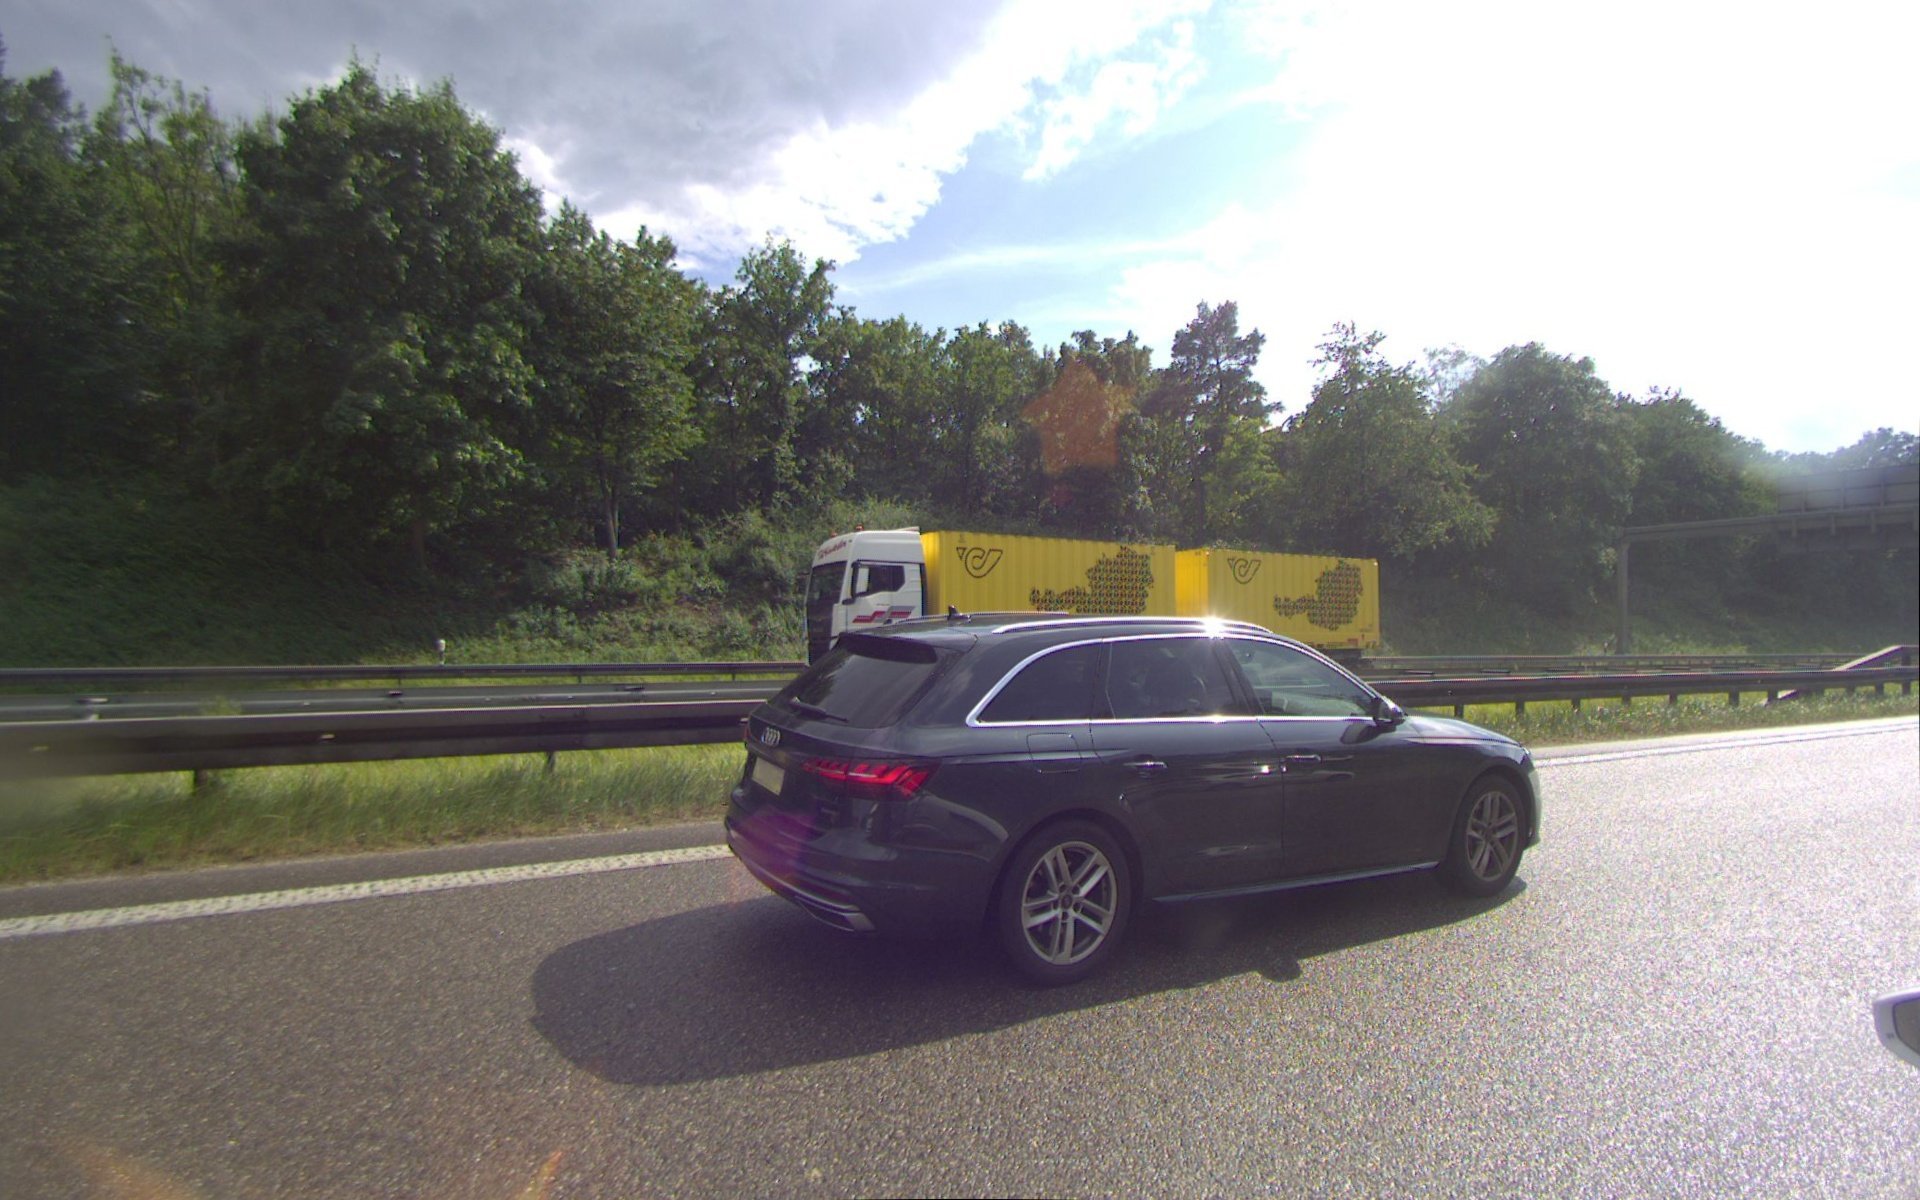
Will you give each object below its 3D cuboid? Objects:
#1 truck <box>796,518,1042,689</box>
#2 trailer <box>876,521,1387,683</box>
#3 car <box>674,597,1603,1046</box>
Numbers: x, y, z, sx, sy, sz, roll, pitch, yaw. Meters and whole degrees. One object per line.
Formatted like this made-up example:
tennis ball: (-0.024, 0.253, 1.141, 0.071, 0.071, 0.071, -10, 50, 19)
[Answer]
truck: (-0.962, 0.127, 24.401, 5.270, 3.713, 2.709, 2, 0, -31)
trailer: (5.642, 0.249, 28.408, 16.487, 3.693, 2.708, 2, 0, -31)
car: (1.143, 0.777, 5.257, 4.783, 1.437, 1.785, 2, 0, -31)
